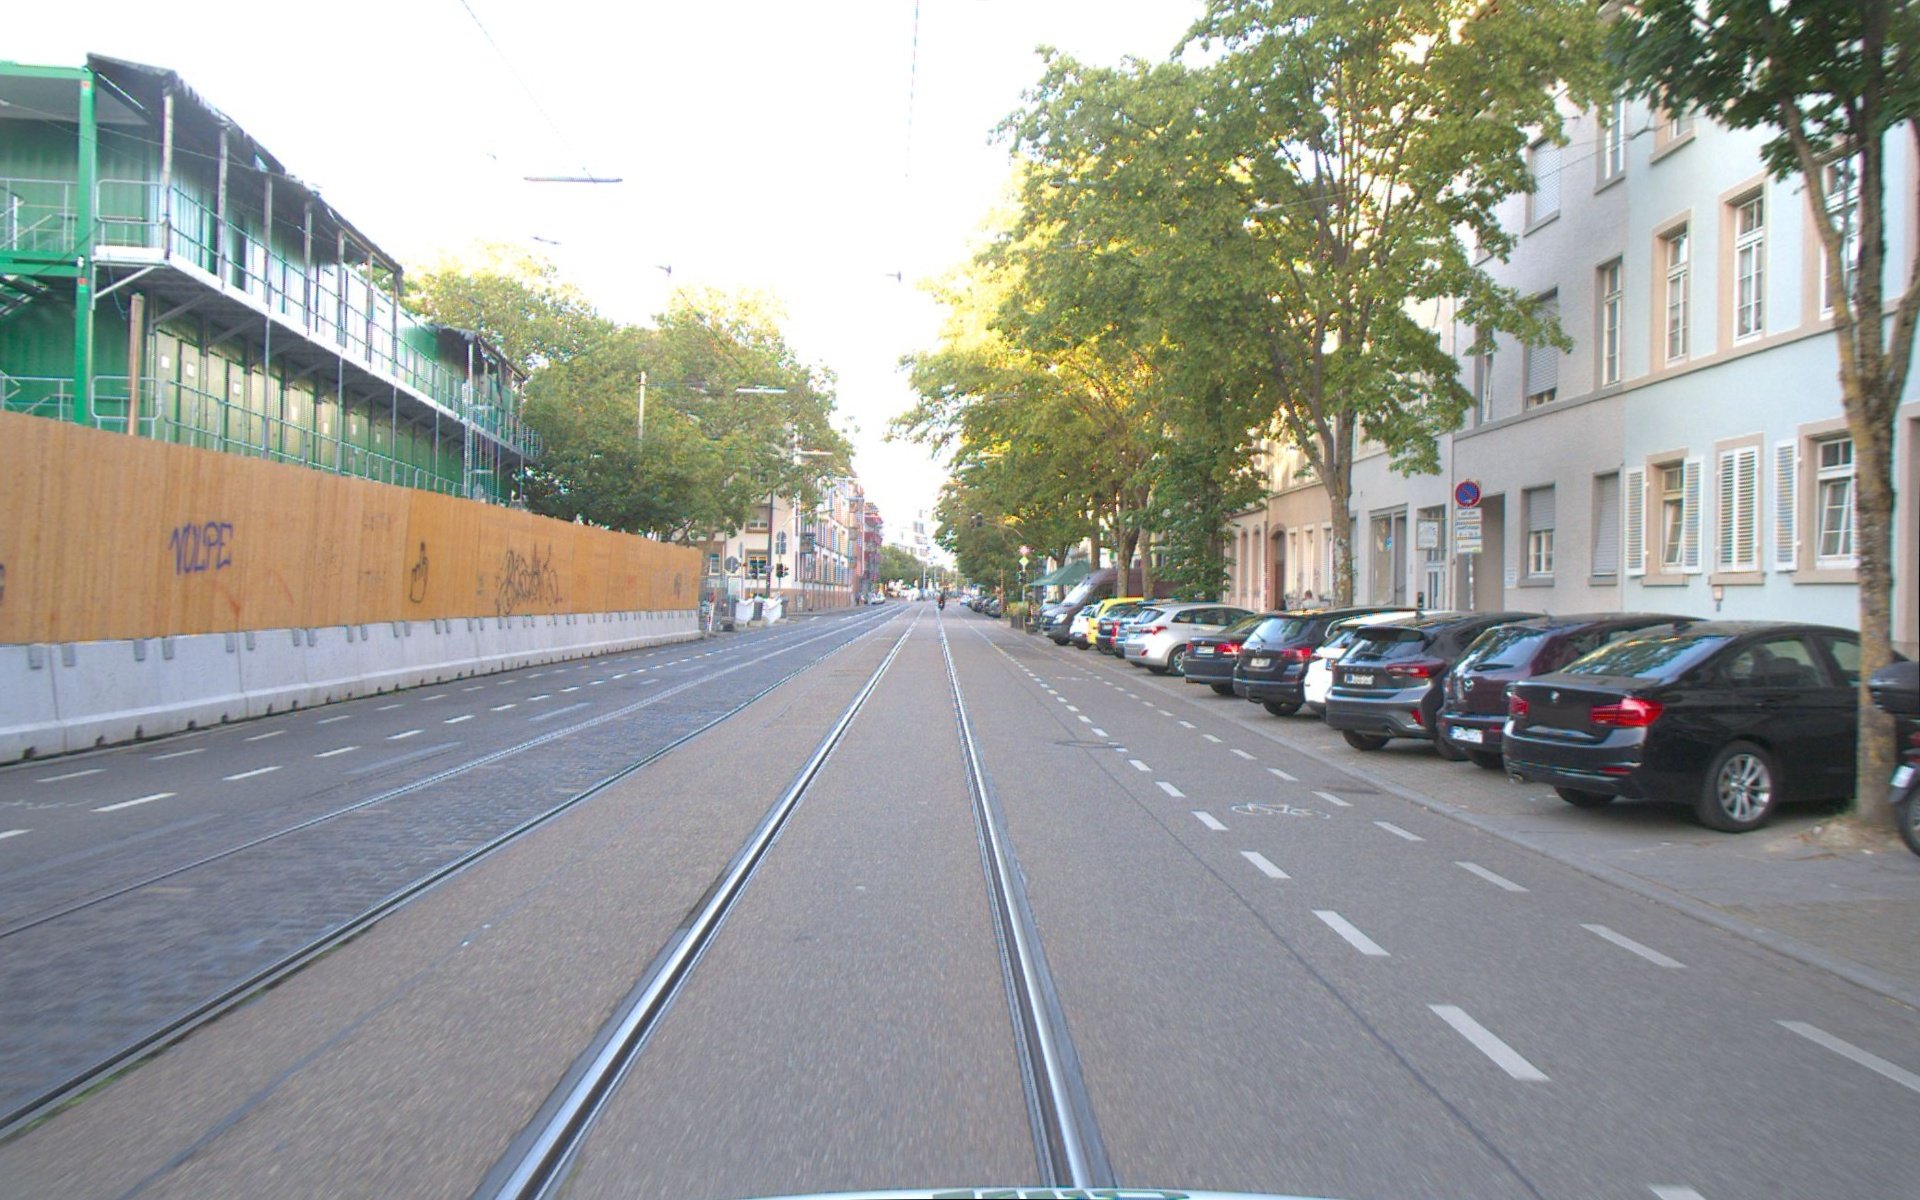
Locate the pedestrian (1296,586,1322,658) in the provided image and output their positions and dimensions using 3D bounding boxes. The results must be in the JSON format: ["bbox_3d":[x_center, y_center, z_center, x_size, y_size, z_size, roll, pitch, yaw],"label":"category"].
[{"bbox_3d":[9.082,0.565,43.037,0.554,1.846,0.607,1,0,1],"label":"pedestrian"}]

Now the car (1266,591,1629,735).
[{"bbox_3d":[6.084,0.719,20.638,4.065,1.496,1.971,-2,1,-26],"label":"car"}]

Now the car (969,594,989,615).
[{"bbox_3d":[1.874,0.437,164.987,1.768,2.049,3.999,2,0,-1],"label":"car"}]

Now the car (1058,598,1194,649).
[{"bbox_3d":[5.297,0.741,52.878,3.900,1.512,1.905,-1,-1,-25],"label":"car"}]

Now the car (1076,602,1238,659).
[{"bbox_3d":[5.438,0.828,45.629,4.071,1.450,1.904,-1,-1,-27],"label":"car"}]

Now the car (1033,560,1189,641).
[{"bbox_3d":[5.257,-0.005,57.612,5.016,2.689,2.011,-1,0,-18],"label":"car"}]

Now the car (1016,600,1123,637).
[{"bbox_3d":[4.675,0.782,70.665,4.123,1.525,1.992,0,-1,-26],"label":"car"}]

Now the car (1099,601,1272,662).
[{"bbox_3d":[5.814,0.794,42.600,4.071,1.450,1.881,-1,-1,-27],"label":"car"}]

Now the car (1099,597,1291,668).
[{"bbox_3d":[5.622,0.749,39.603,4.195,1.588,1.884,-1,-1,-24],"label":"car"}]

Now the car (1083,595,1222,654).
[{"bbox_3d":[5.682,0.722,49.112,3.870,1.648,1.920,-1,-1,-1],"label":"car"}]

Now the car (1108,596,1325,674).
[{"bbox_3d":[5.489,0.728,35.619,4.175,1.576,2.014,-1,0,-12],"label":"car"}]

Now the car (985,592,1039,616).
[{"bbox_3d":[3.785,0.259,119.929,3.808,1.620,1.861,2,0,0],"label":"car"}]

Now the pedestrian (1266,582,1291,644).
[{"bbox_3d":[8.383,0.336,43.545,0.527,1.595,0.813,1,0,1],"label":"pedestrian"}]

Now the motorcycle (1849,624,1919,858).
[{"bbox_3d":[6.455,0.824,10.119,1.750,1.367,0.533,-1,0,-3],"label":"motorcycle"}]

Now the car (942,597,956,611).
[{"bbox_3d":[-1.645,0.592,244.640,1.859,2.049,3.999,2,0,-1],"label":"car"}]

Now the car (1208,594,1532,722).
[{"bbox_3d":[5.743,0.753,23.161,4.065,1.496,1.999,-2,1,-26],"label":"car"}]

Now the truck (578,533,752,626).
[{"bbox_3d":[-12.474,-0.874,70.446,6.919,3.541,2.539,3,0,-5],"label":"truck"}]

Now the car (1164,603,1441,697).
[{"bbox_3d":[5.738,0.791,27.704,4.196,1.416,2.000,-1,0,-25],"label":"car"}]

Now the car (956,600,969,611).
[{"bbox_3d":[0.379,0.857,255.438,1.923,1.748,3.999,2,0,-1],"label":"car"}]

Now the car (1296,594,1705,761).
[{"bbox_3d":[5.873,0.765,17.951,4.063,1.496,1.809,-2,1,-25],"label":"car"}]

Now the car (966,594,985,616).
[{"bbox_3d":[1.475,0.506,158.246,1.687,2.049,3.999,2,0,-1],"label":"car"}]

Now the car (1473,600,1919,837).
[{"bbox_3d":[6.255,0.803,12.789,4.101,1.451,1.813,-2,1,-20],"label":"car"}]

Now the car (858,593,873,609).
[{"bbox_3d":[-13.057,0.122,229.574,1.859,2.216,3.999,2,0,-1],"label":"car"}]

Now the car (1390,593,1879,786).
[{"bbox_3d":[6.314,0.759,15.610,3.887,1.496,1.991,-2,1,-18],"label":"car"}]
